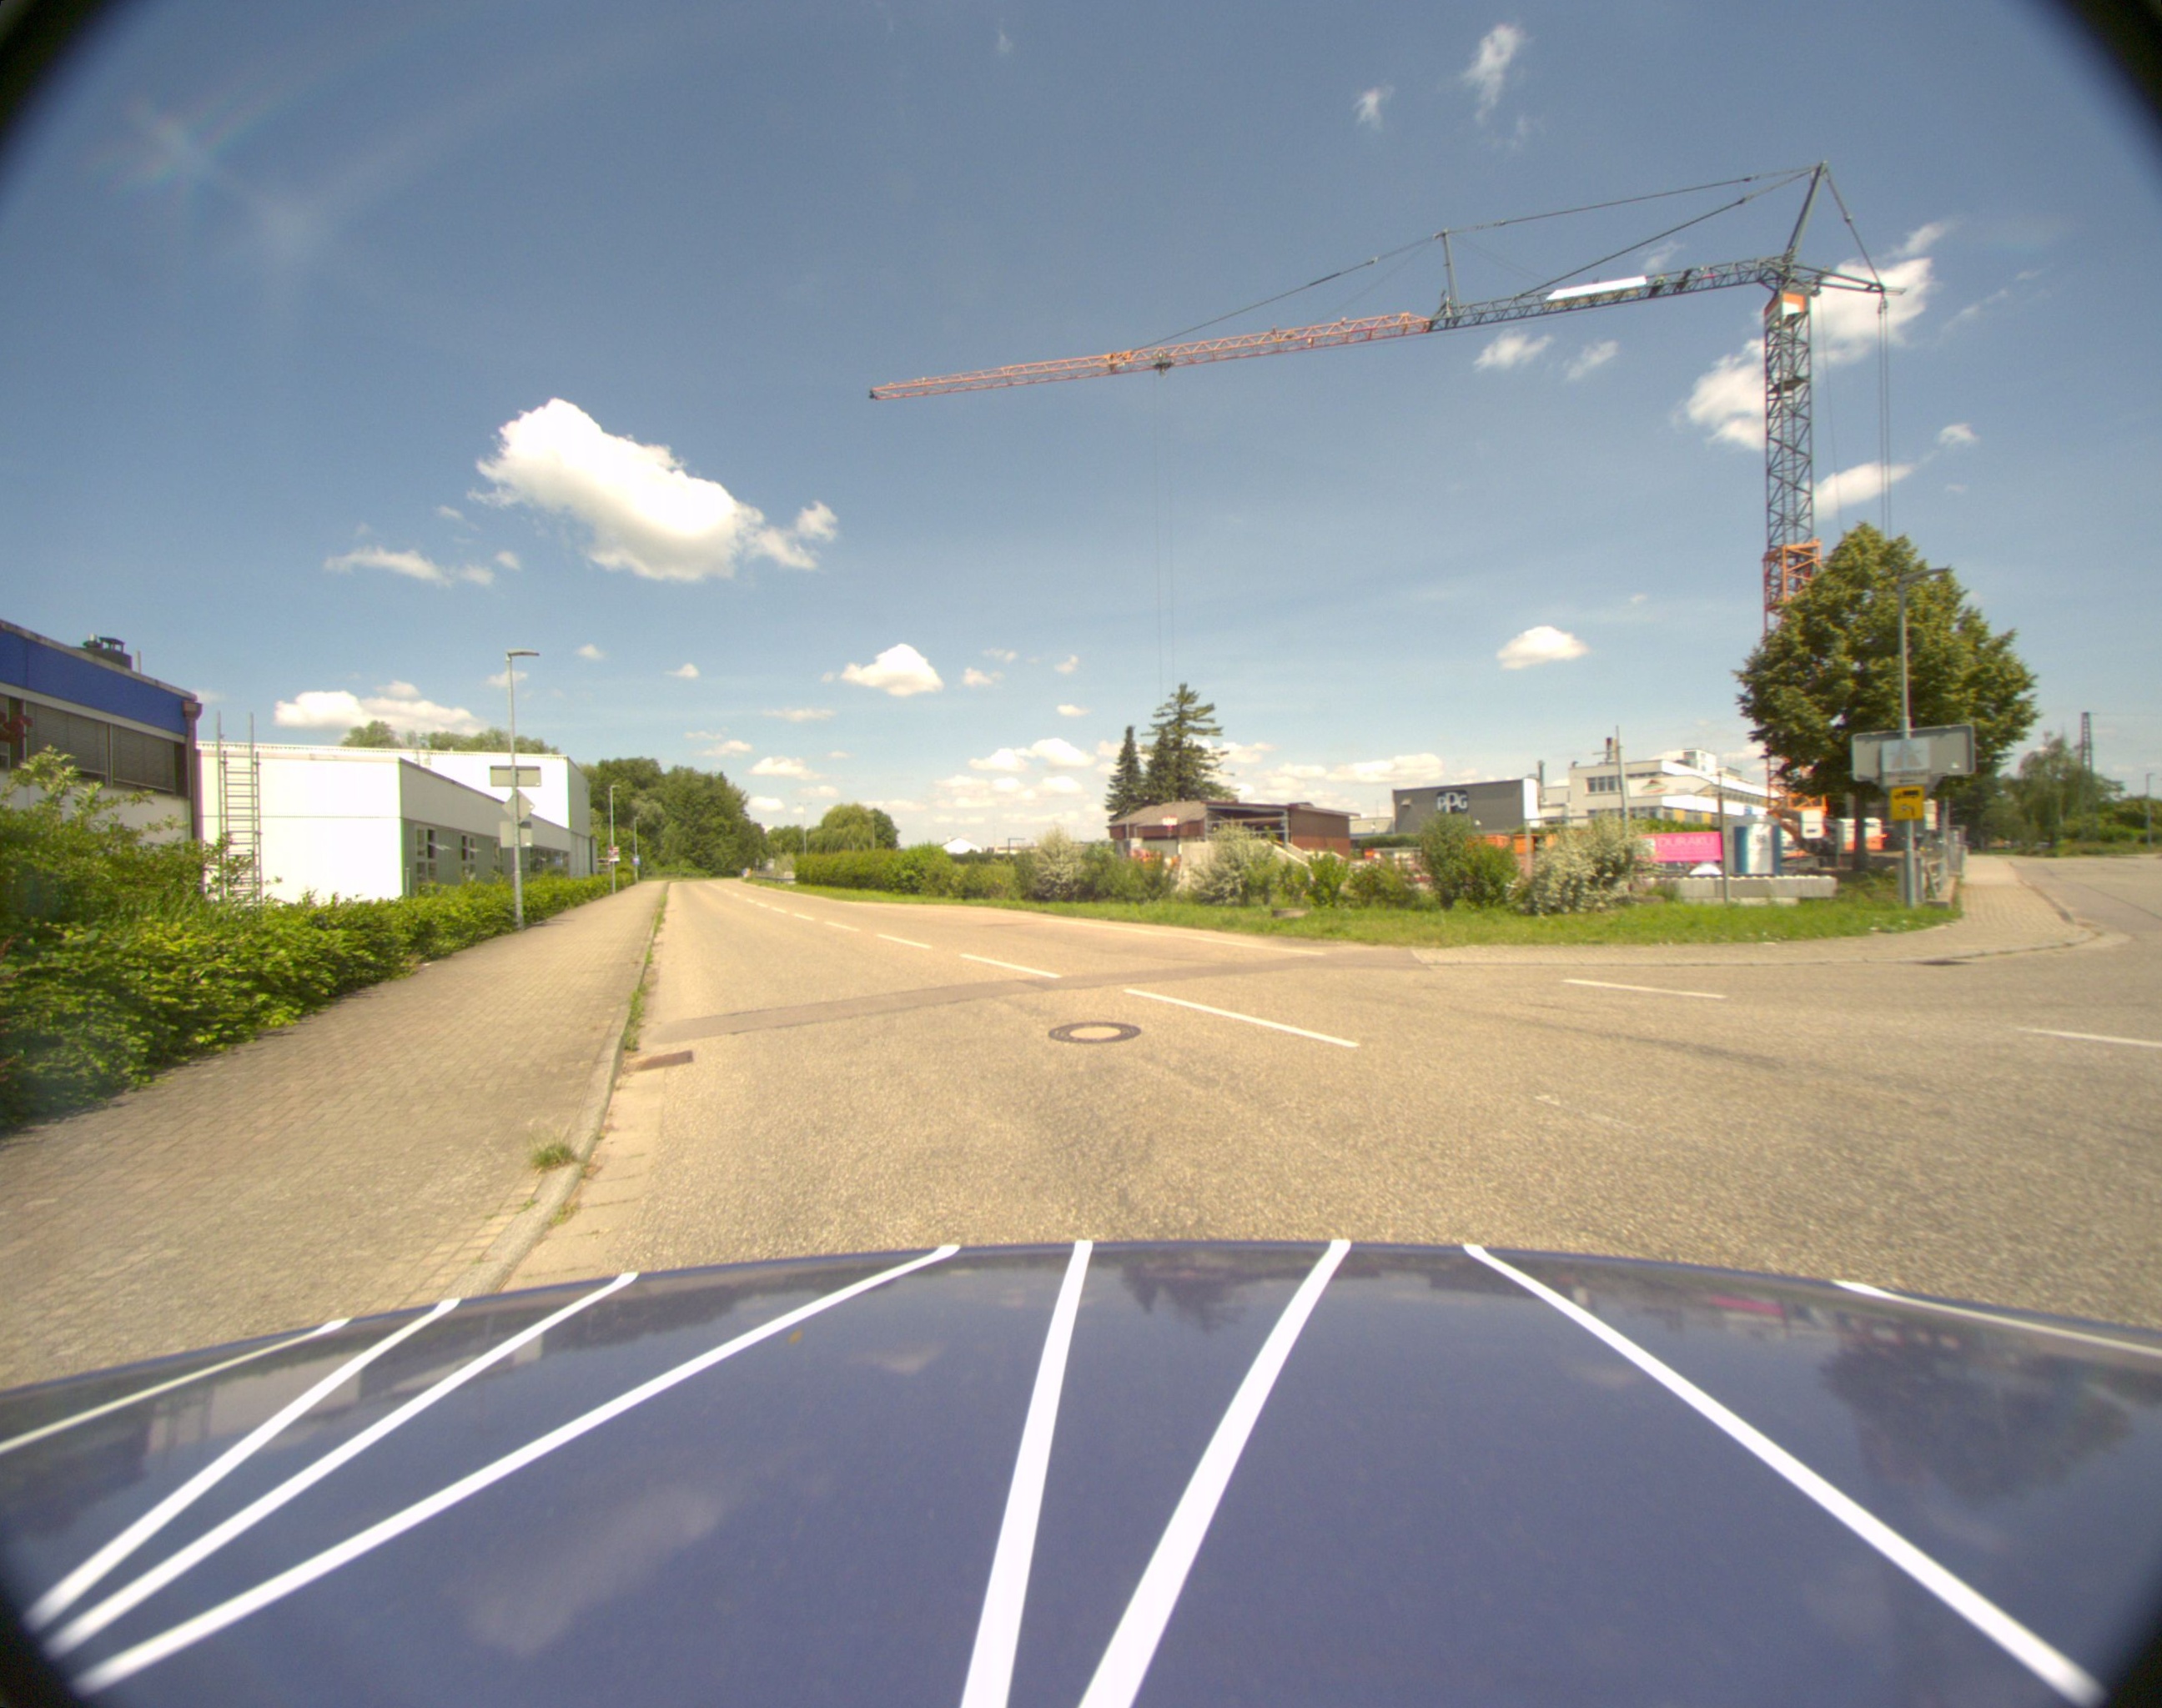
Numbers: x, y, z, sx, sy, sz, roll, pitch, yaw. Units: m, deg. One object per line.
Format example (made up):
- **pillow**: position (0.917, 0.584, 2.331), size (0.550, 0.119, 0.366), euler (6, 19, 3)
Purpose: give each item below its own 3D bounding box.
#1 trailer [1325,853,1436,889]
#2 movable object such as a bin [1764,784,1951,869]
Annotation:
- **trailer**: position (16.415, 0.945, 41.792), size (5.384, 1.769, 1.825), euler (-1, 2, 34)
- **movable object such as a bin**: position (33.040, -1.153, 32.624), size (5.116, 3.276, 2.398), euler (-1, 5, 30)
